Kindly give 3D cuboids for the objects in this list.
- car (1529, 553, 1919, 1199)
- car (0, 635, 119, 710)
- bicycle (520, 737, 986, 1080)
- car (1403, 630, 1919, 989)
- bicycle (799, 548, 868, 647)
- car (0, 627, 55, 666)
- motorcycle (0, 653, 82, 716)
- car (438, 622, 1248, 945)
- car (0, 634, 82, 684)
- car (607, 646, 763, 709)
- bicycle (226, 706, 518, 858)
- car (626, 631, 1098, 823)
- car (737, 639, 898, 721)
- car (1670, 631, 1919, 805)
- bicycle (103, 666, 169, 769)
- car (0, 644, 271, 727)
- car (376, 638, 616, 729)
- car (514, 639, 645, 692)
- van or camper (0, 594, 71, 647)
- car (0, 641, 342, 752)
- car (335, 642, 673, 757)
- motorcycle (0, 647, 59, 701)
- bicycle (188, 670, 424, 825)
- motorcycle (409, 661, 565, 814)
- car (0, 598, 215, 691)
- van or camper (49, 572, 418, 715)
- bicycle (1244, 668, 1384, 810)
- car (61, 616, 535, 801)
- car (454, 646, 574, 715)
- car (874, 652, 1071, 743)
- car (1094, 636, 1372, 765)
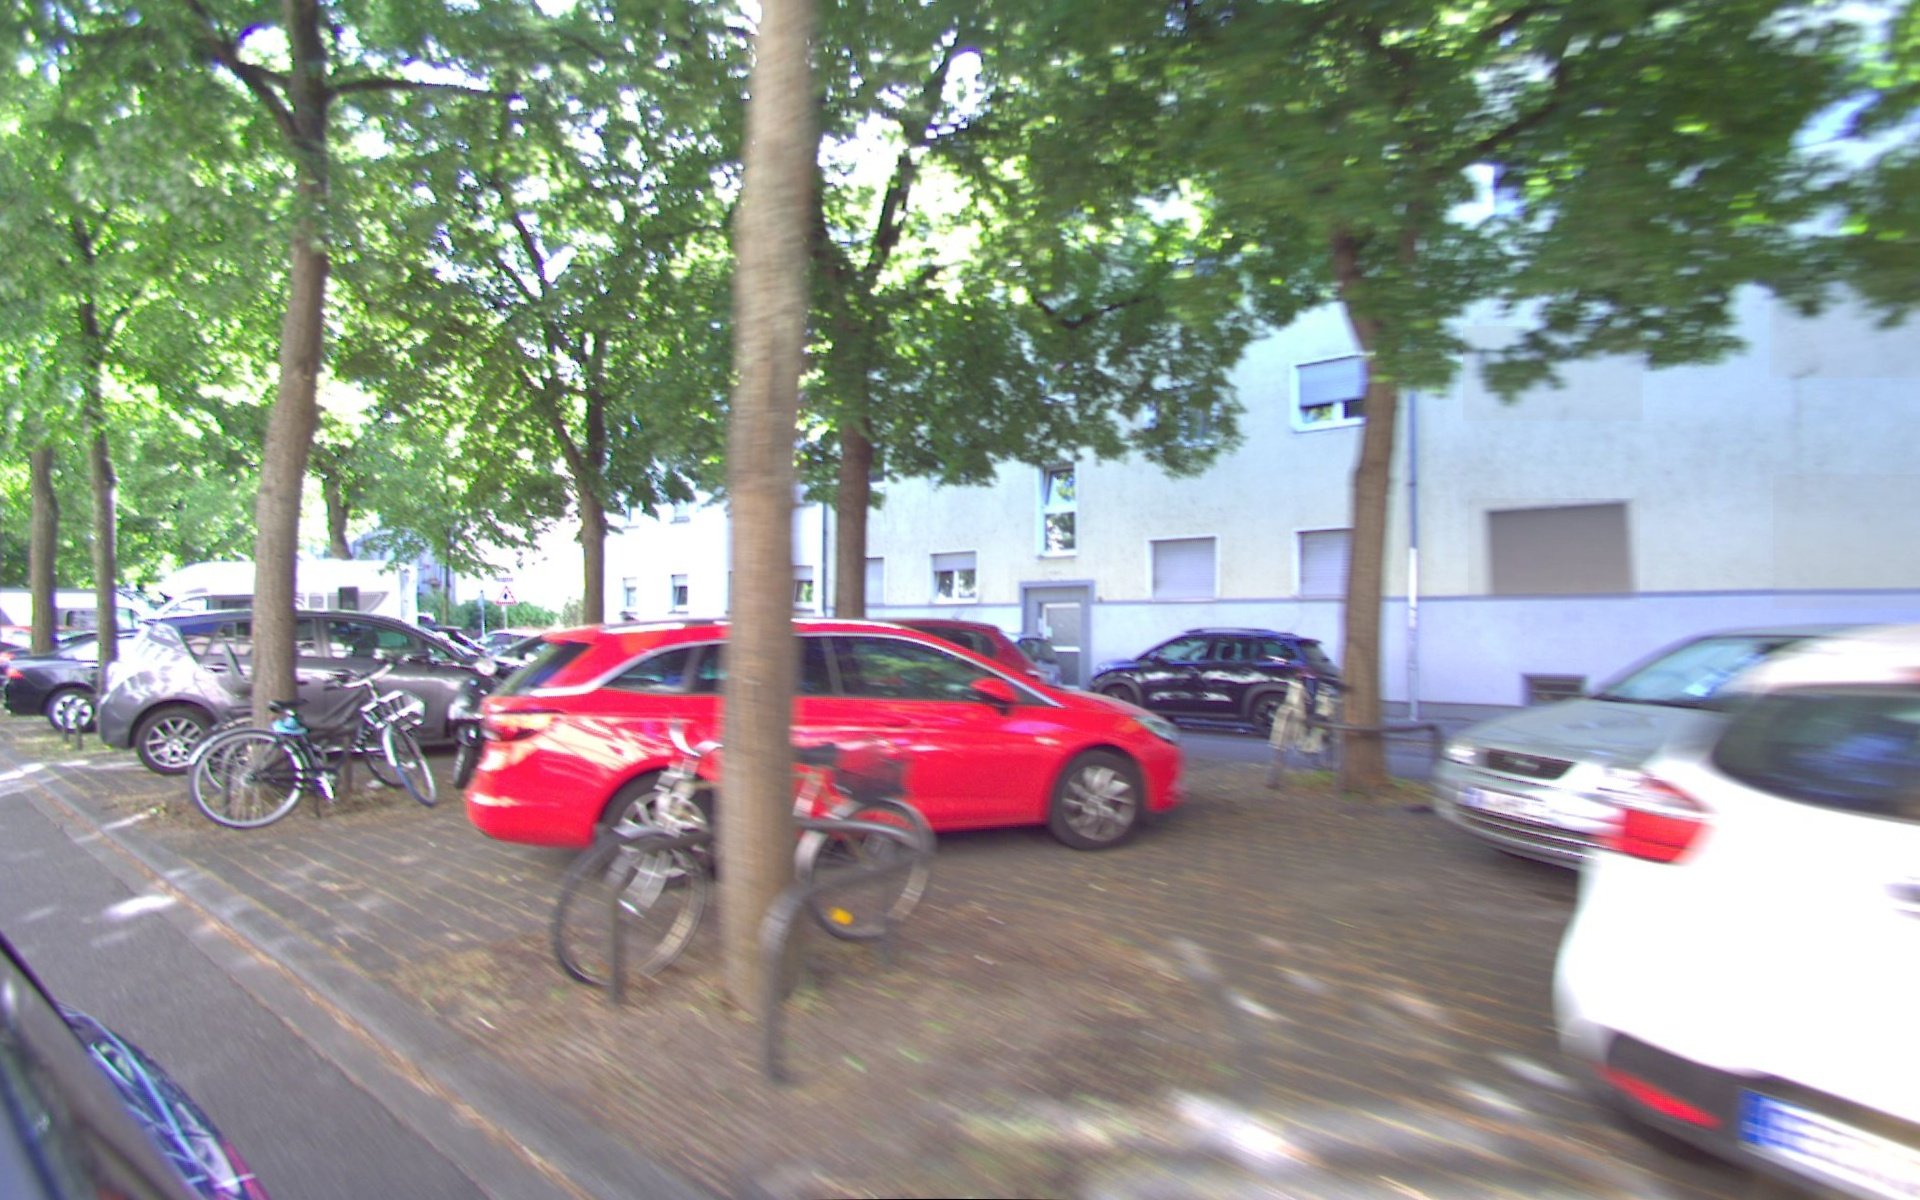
[{"bbox_3d":[3.337,0.712,2.374,3.630,1.608,1.778,0,-2,-28],"label":"car"},{"bbox_3d":[-21.804,1.632,23.271,3.837,1.630,1.658,0,-3,10],"label":"car"},{"bbox_3d":[-0.750,1.115,4.038,1.786,1.001,0.427,2,-3,-33],"label":"bicycle"},{"bbox_3d":[4.712,0.886,5.484,3.932,1.446,1.802,0,-2,-15],"label":"car"},{"bbox_3d":[-1.680,-0.006,13.224,0.350,1.209,1.807,0,-1,-25],"label":"bicycle"},{"bbox_3d":[-64.109,3.048,66.792,6.094,2.531,2.145,2,-3,-21],"label":"car"},{"bbox_3d":[-19.328,1.715,20.627,2.120,1.239,0.883,1,-3,-40],"label":"motorcycle"},{"bbox_3d":[-0.655,0.930,6.471,4.549,1.497,1.766,0,-2,-18],"label":"car"},{"bbox_3d":[-31.836,2.013,33.343,4.030,1.537,1.707,-3,-1,-18],"label":"car"},{"bbox_3d":[-7.031,1.909,25.644,4.300,1.409,1.628,-2,-1,39],"label":"car"},{"bbox_3d":[-4.386,1.332,7.671,1.871,0.926,0.380,0,-2,-29],"label":"bicycle"},{"bbox_3d":[-0.962,1.042,9.470,4.045,1.484,1.877,0,-2,-20],"label":"car"},{"bbox_3d":[-3.204,1.765,22.490,3.597,1.689,1.459,-2,-7,39],"label":"car"},{"bbox_3d":[10.282,1.235,10.683,4.376,1.732,1.826,-2,-6,41],"label":"car"},{"bbox_3d":[-10.162,1.409,12.515,0.422,1.139,1.683,1,-2,-32],"label":"bicycle"},{"bbox_3d":[-15.807,1.582,19.270,4.086,1.436,1.720,1,-2,-17],"label":"car"},{"bbox_3d":[-8.672,1.495,19.082,3.931,1.497,1.836,0,-2,-27],"label":"car"},{"bbox_3d":[-11.109,1.893,29.460,4.077,1.447,1.732,-2,-5,39],"label":"car"},{"bbox_3d":[-55.621,1.187,58.366,5.929,3.025,2.407,1,-3,-20],"label":"van or camper"},{"bbox_3d":[-11.505,1.364,14.704,3.953,1.485,1.630,1,-3,-13],"label":"car"},{"bbox_3d":[-6.226,1.332,14.353,4.128,1.401,1.823,0,-2,-15],"label":"car"},{"bbox_3d":[-24.691,1.887,25.840,0.966,1.345,2.301,-2,-3,32],"label":"motorcycle"},{"bbox_3d":[-5.539,1.219,8.672,1.662,1.167,0.380,0,-2,-29],"label":"bicycle"},{"bbox_3d":[-4.309,1.209,9.346,0.636,1.265,1.513,-1,-3,4],"label":"motorcycle"},{"bbox_3d":[-25.812,1.261,29.452,6.220,2.578,2.345,0,-2,-16],"label":"car"},{"bbox_3d":[-15.658,0.876,22.376,6.197,2.846,2.415,0,-2,-20],"label":"van or camper"},{"bbox_3d":[3.165,1.174,8.961,1.731,1.096,0.389,2,-3,-43],"label":"bicycle"},{"bbox_3d":[-6.823,1.044,11.010,4.018,1.665,1.869,0,-2,-22],"label":"car"},{"bbox_3d":[-14.205,2.496,32.165,3.998,2.029,1.972,-2,-4,41],"label":"car"},{"bbox_3d":[0.199,1.800,19.388,3.576,1.588,1.600,-2,-5,39],"label":"car"},{"bbox_3d":[4.178,1.446,15.759,3.833,1.767,1.684,-2,-3,38],"label":"car"}]
